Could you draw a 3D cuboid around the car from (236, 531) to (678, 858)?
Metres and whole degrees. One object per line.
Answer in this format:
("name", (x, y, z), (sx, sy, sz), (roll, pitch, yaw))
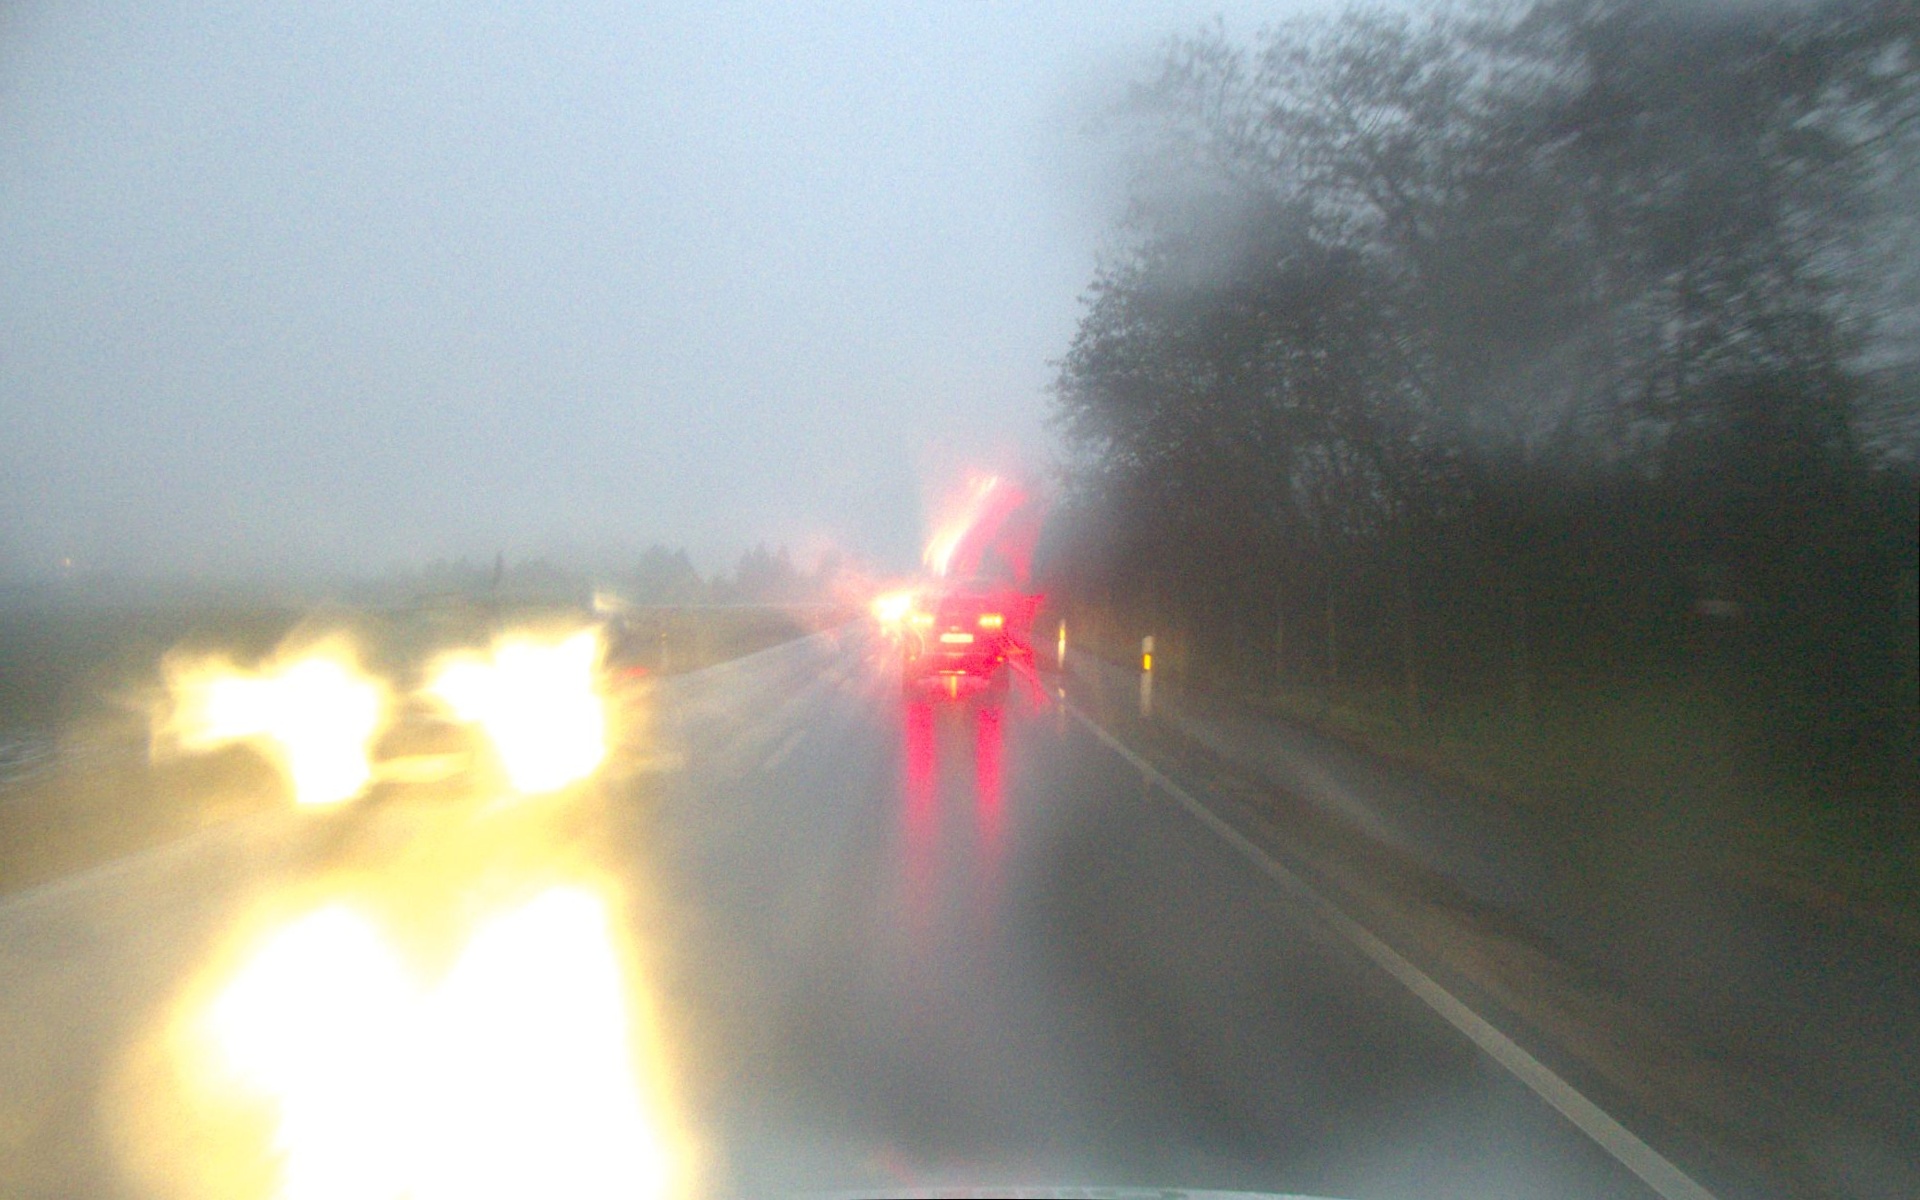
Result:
("car", (-3.319, 0.549, 11.806), (1.953, 1.854, 3.999), (-2, 0, -2))

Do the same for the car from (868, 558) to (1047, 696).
("car", (-0.050, 0.430, 28.869), (2.763, 2.113, 5.803), (1, 0, 0))

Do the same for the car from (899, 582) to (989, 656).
("car", (-0.467, 0.554, 50.364), (2.539, 2.049, 5.803), (1, 0, 0))
